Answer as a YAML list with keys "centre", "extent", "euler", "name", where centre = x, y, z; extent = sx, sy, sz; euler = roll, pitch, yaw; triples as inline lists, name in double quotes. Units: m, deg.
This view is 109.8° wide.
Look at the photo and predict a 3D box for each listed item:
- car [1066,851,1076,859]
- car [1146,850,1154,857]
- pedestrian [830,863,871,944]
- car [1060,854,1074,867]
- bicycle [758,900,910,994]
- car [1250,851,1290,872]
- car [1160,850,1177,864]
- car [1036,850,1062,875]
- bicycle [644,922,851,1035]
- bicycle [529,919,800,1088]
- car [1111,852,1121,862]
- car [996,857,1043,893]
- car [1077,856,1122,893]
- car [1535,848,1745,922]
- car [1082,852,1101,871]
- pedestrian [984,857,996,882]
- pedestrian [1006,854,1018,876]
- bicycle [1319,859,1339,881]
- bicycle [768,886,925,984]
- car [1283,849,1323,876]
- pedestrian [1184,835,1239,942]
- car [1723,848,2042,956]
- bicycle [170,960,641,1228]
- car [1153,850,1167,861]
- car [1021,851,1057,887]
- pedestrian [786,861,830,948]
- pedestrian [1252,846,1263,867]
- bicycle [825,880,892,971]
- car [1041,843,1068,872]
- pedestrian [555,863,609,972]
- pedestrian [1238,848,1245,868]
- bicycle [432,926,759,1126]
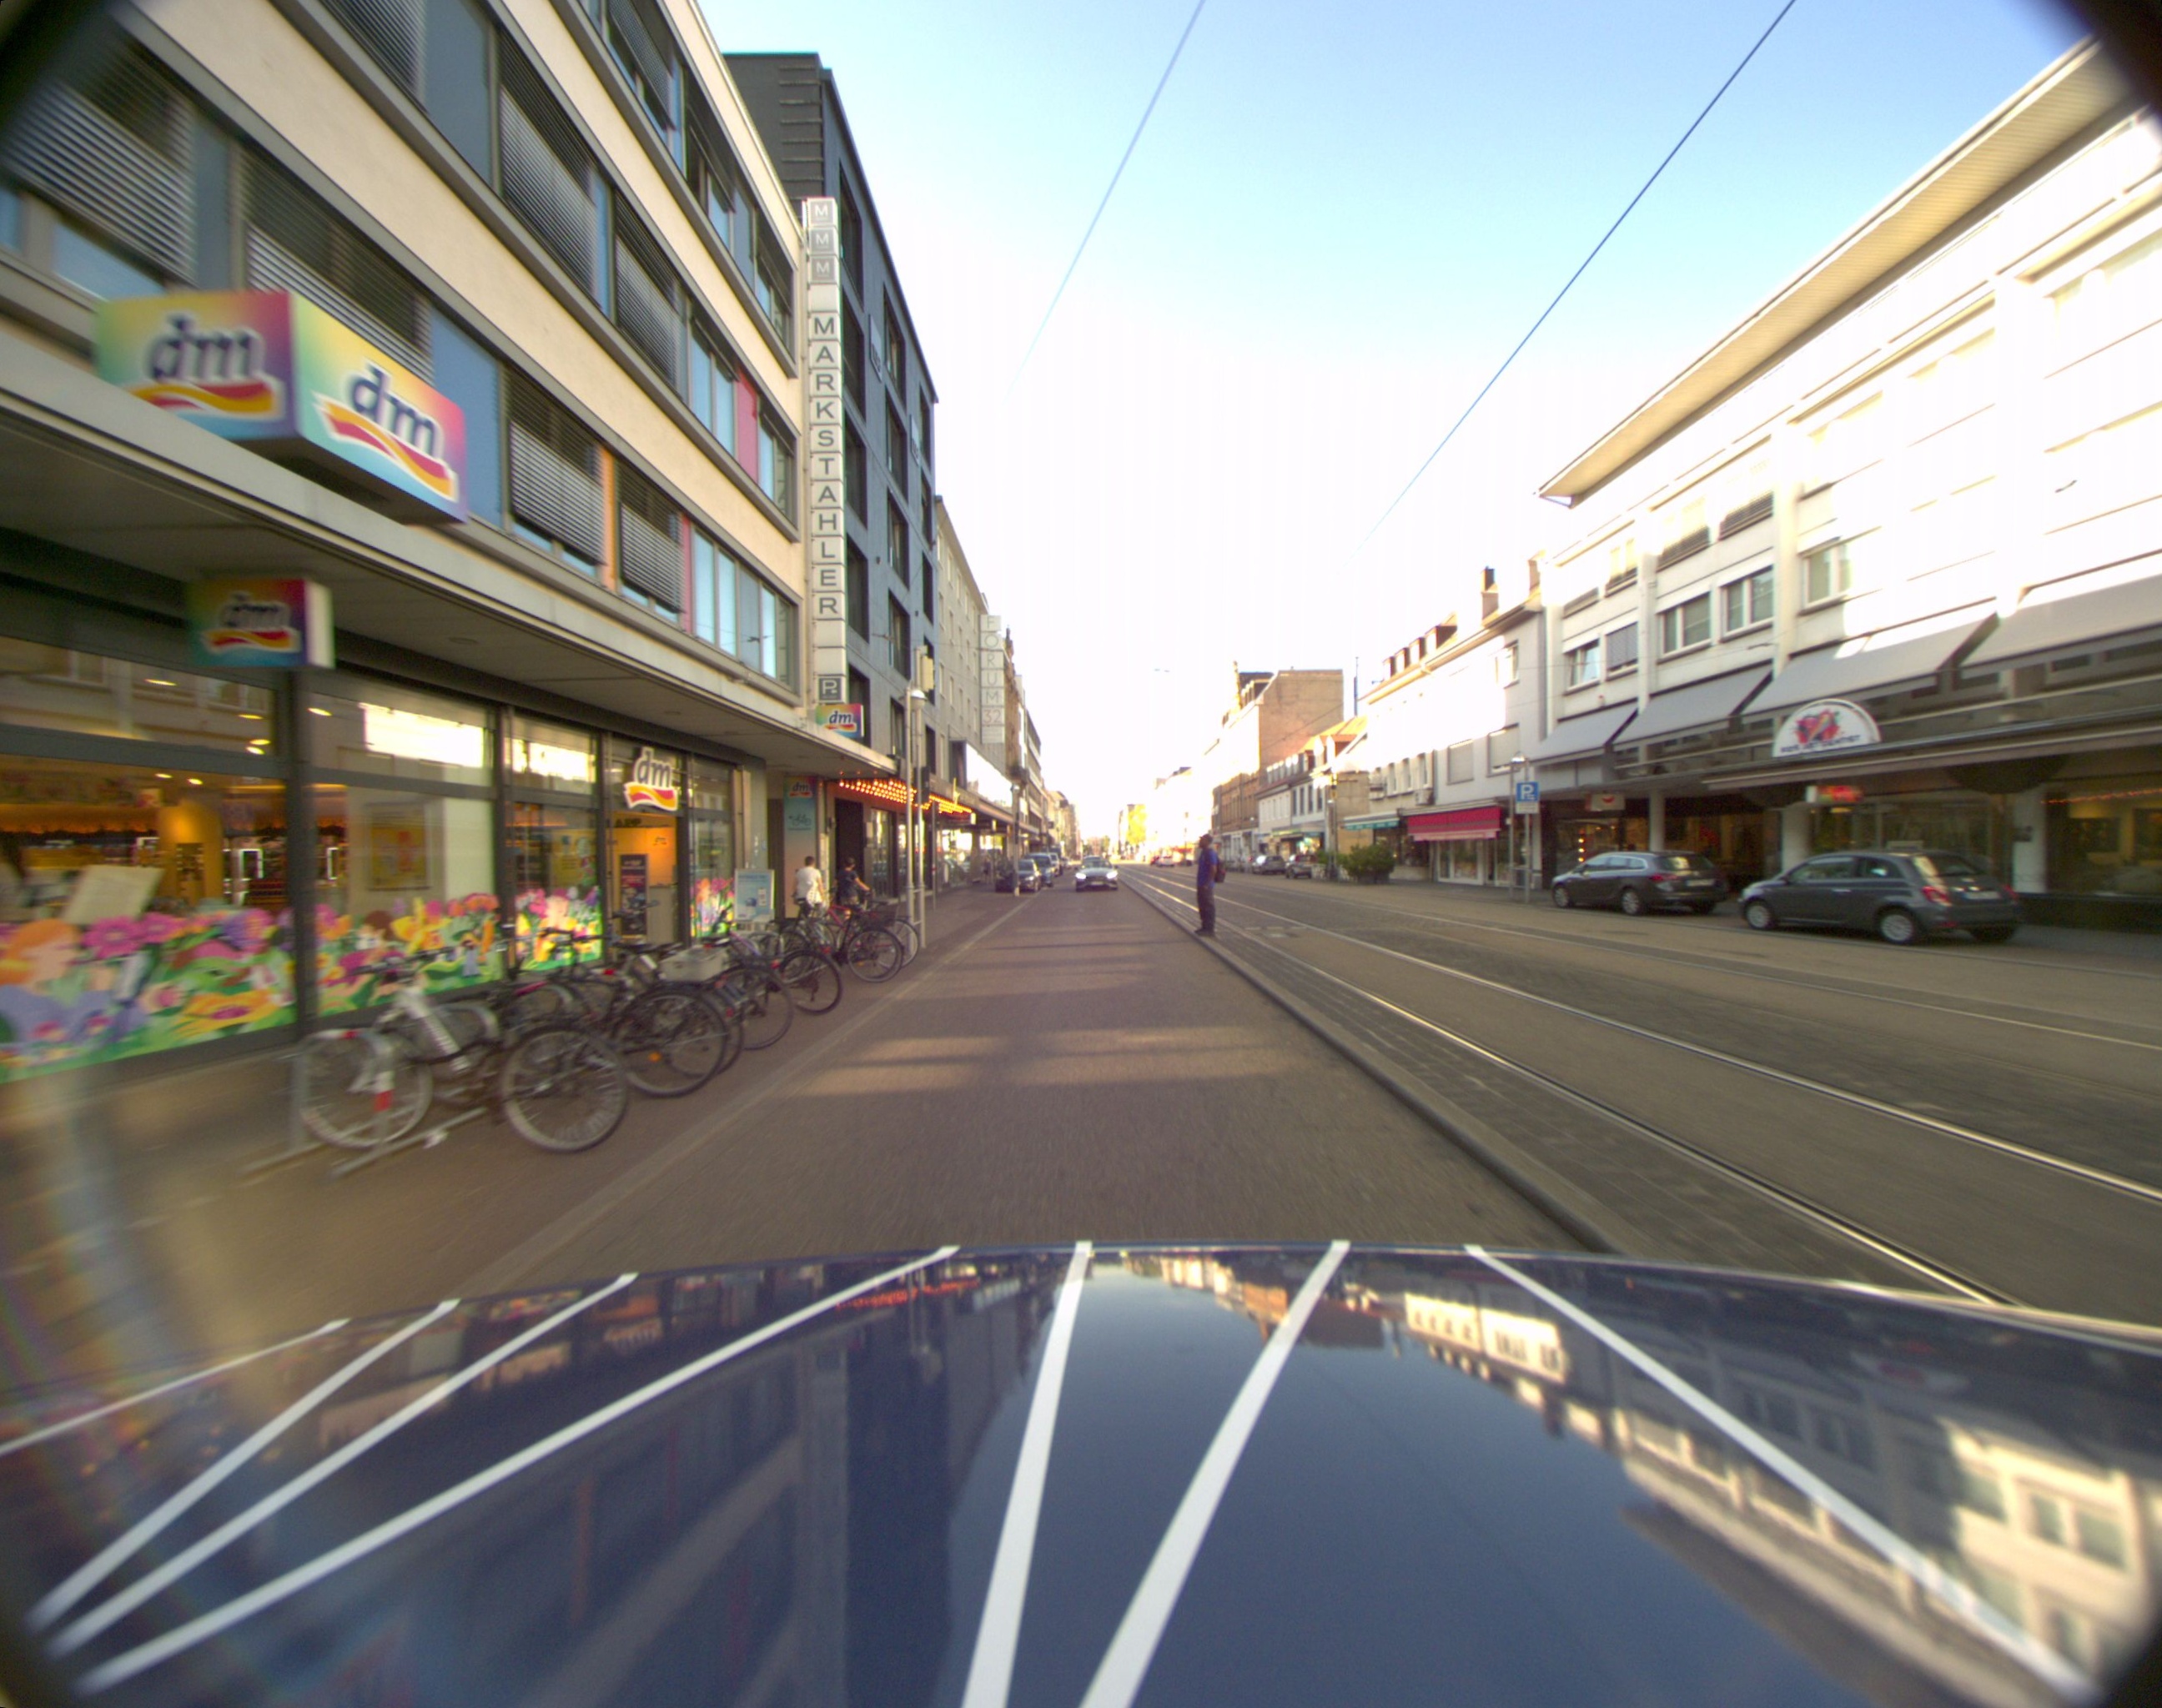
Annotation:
- centre: [-1.624, 0.145, 125.115]
  extent: [1.630, 1.342, 3.464]
  euler: [1, 1, 1]
  name: "car"
- centre: [16.217, -0.181, 178.194]
  extent: [1.630, 1.524, 3.464]
  euler: [1, 1, 1]
  name: "car"
- centre: [-4.389, 0.926, 14.470]
  extent: [0.584, 1.485, 0.523]
  euler: [1, 1, -35]
  name: "pedestrian"
- centre: [-1.750, 0.826, 96.749]
  extent: [1.630, 1.543, 3.508]
  euler: [1, 1, 1]
  name: "car"
- centre: [-3.131, 1.174, 9.722]
  extent: [1.778, 1.124, 0.478]
  euler: [0, 1, -5]
  name: "bicycle"
- centre: [14.140, 0.530, 57.167]
  extent: [1.822, 1.505, 4.762]
  euler: [-2, 1, 1]
  name: "car"
- centre: [11.222, 0.366, 98.014]
  extent: [1.802, 1.625, 3.676]
  euler: [0, 1, 1]
  name: "car"
- centre: [-2.555, 0.668, 61.453]
  extent: [2.051, 1.899, 4.877]
  euler: [0, 1, -2]
  name: "car"
- centre: [-3.254, 1.210, 7.512]
  extent: [1.778, 1.026, 0.597]
  euler: [0, 1, 0]
  name: "bicycle"
- centre: [-3.218, 1.142, 5.966]
  extent: [1.792, 1.210, 0.587]
  euler: [0, 1, 0]
  name: "bicycle"
- centre: [7.465, 0.539, 163.992]
  extent: [1.998, 2.002, 4.000]
  euler: [-3, 1, 2]
  name: "car"
- centre: [-2.747, 0.908, 34.716]
  extent: [1.726, 1.476, 4.416]
  euler: [1, 1, 1]
  name: "car"
- centre: [0.800, 0.854, 34.196]
  extent: [1.858, 1.463, 4.786]
  euler: [-1, 1, 0]
  name: "car"
- centre: [13.658, 0.664, 19.022]
  extent: [1.741, 1.514, 4.851]
  euler: [-3, 1, 1]
  name: "car"
- centre: [0.959, 0.630, 67.225]
  extent: [1.630, 1.593, 3.330]
  euler: [1, 1, 1]
  name: "car"
- centre: [-5.258, 0.871, 44.104]
  extent: [0.577, 1.431, 0.731]
  euler: [1, 1, 1]
  name: "pedestrian"
- centre: [-4.719, 0.747, 52.156]
  extent: [0.697, 1.499, 0.814]
  euler: [-1, 1, 1]
  name: "pedestrian"
- centre: [13.221, 0.843, 40.533]
  extent: [0.519, 1.084, 1.716]
  euler: [-3, 1, 1]
  name: "bicycle"
- centre: [-3.234, 1.106, 10.621]
  extent: [2.043, 1.267, 0.524]
  euler: [0, 1, -9]
  name: "bicycle"
- centre: [13.930, 0.517, 47.810]
  extent: [1.701, 1.594, 2.891]
  euler: [-3, 1, 1]
  name: "car"
- centre: [2.280, 0.591, 13.356]
  extent: [0.806, 1.827, 0.746]
  euler: [1, 1, -1]
  name: "pedestrian"
- centre: [13.411, 0.694, 13.056]
  extent: [1.605, 1.514, 3.588]
  euler: [-3, 1, -2]
  name: "car"
- centre: [-3.340, 1.167, 3.875]
  extent: [1.792, 1.153, 0.669]
  euler: [0, 1, 0]
  name: "bicycle"
- centre: [11.917, 0.232, 114.517]
  extent: [1.667, 1.521, 4.000]
  euler: [0, 1, 1]
  name: "car"
- centre: [-2.249, 0.756, 41.001]
  extent: [1.821, 1.849, 4.548]
  euler: [0, 1, -3]
  name: "car"
- centre: [-5.064, 0.922, 14.101]
  extent: [0.583, 1.576, 0.597]
  euler: [1, 1, -1]
  name: "pedestrian"
- centre: [15.433, 0.205, 66.509]
  extent: [0.658, 1.752, 0.581]
  euler: [-3, 1, -7]
  name: "pedestrian"
- centre: [-3.460, 1.074, 11.917]
  extent: [0.583, 1.250, 1.601]
  euler: [1, 1, -1]
  name: "bicycle"
- centre: [-2.341, 0.365, 68.355]
  extent: [2.051, 2.486, 5.687]
  euler: [-3, -1, 0]
  name: "car"
- centre: [-7.053, 0.873, 10.760]
  extent: [0.584, 1.477, 0.596]
  euler: [1, 1, -30]
  name: "pedestrian"
- centre: [15.125, 0.362, 71.750]
  extent: [0.581, 1.795, 0.659]
  euler: [-3, 1, 12]
  name: "pedestrian"
- centre: [-3.234, 1.127, 5.176]
  extent: [1.792, 1.210, 0.669]
  euler: [0, 1, 0]
  name: "bicycle"
